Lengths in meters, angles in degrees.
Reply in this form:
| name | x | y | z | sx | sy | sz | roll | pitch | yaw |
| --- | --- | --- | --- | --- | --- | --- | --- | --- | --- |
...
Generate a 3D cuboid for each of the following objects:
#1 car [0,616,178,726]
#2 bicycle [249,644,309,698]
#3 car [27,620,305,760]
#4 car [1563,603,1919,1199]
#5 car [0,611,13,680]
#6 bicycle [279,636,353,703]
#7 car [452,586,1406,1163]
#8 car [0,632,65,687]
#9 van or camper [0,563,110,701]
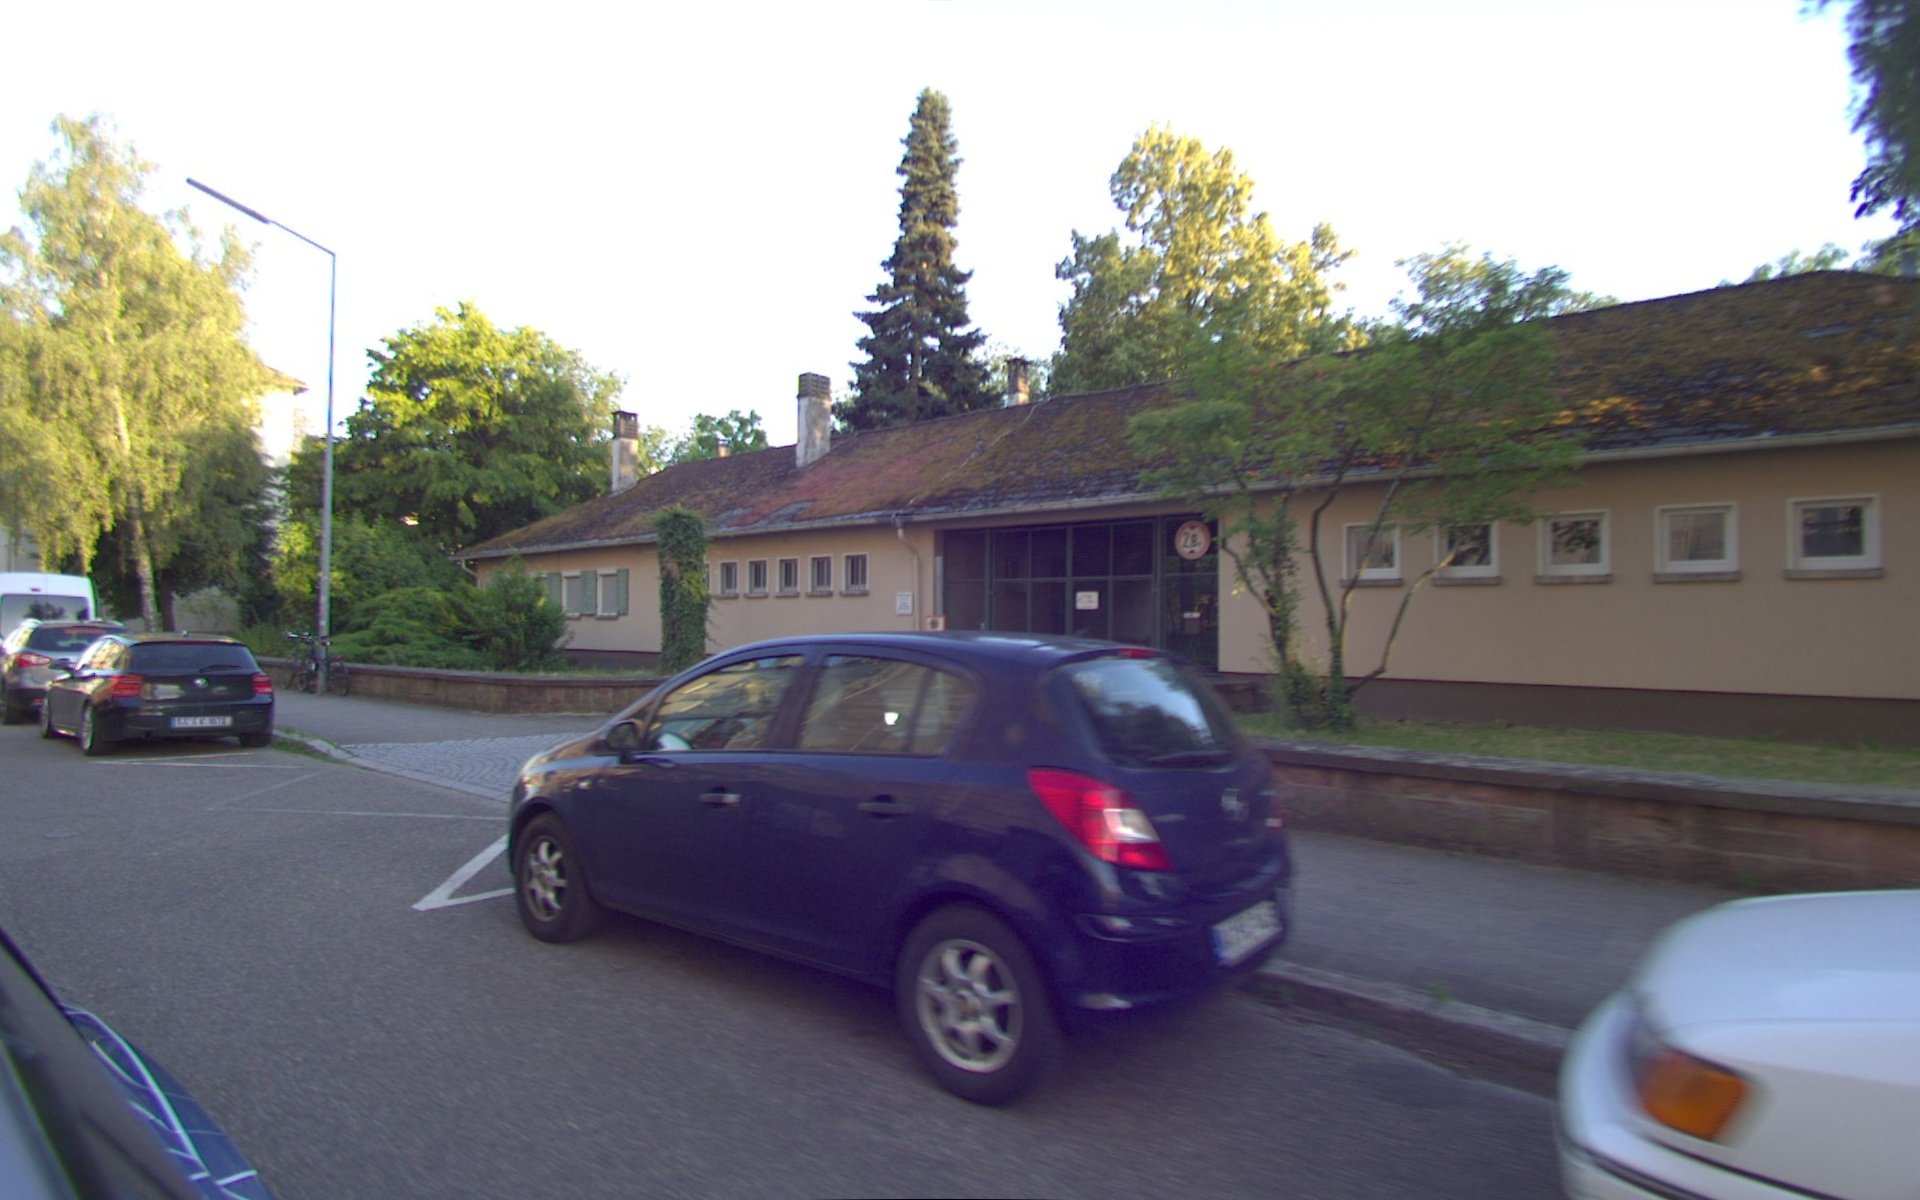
| name | x | y | z | sx | sy | sz | roll | pitch | yaw |
| --- | --- | --- | --- | --- | --- | --- | --- | --- | --- |
| car | -14.570 | 1.050 | 16.508 | 4.786 | 1.530 | 1.973 | -1 | -2 | 41 |
| bicycle | -13.281 | 1.361 | 19.719 | 1.955 | 0.972 | 0.537 | -1 | -1 | 42 |
| car | -10.084 | 0.994 | 12.746 | 4.285 | 1.464 | 1.973 | -1 | -2 | 41 |
| car | 3.452 | 0.765 | 0.960 | 4.744 | 1.457 | 1.764 | -1 | -5 | 40 |
| car | -27.242 | 1.189 | 27.208 | 4.944 | 1.802 | 1.891 | -1 | -3 | 39 |
| bicycle | -11.598 | 1.226 | 18.215 | 1.953 | 1.126 | 0.538 | -1 | -1 | 39 |
| car | -0.345 | 0.745 | 4.598 | 3.994 | 1.464 | 1.975 | -1 | -2 | 38 |
| car | -23.030 | 1.374 | 23.893 | 4.027 | 1.198 | 1.976 | -1 | -2 | 35 |
| van or camper | -19.215 | 0.648 | 20.528 | 6.078 | 2.475 | 1.973 | -1 | -2 | 40 |
